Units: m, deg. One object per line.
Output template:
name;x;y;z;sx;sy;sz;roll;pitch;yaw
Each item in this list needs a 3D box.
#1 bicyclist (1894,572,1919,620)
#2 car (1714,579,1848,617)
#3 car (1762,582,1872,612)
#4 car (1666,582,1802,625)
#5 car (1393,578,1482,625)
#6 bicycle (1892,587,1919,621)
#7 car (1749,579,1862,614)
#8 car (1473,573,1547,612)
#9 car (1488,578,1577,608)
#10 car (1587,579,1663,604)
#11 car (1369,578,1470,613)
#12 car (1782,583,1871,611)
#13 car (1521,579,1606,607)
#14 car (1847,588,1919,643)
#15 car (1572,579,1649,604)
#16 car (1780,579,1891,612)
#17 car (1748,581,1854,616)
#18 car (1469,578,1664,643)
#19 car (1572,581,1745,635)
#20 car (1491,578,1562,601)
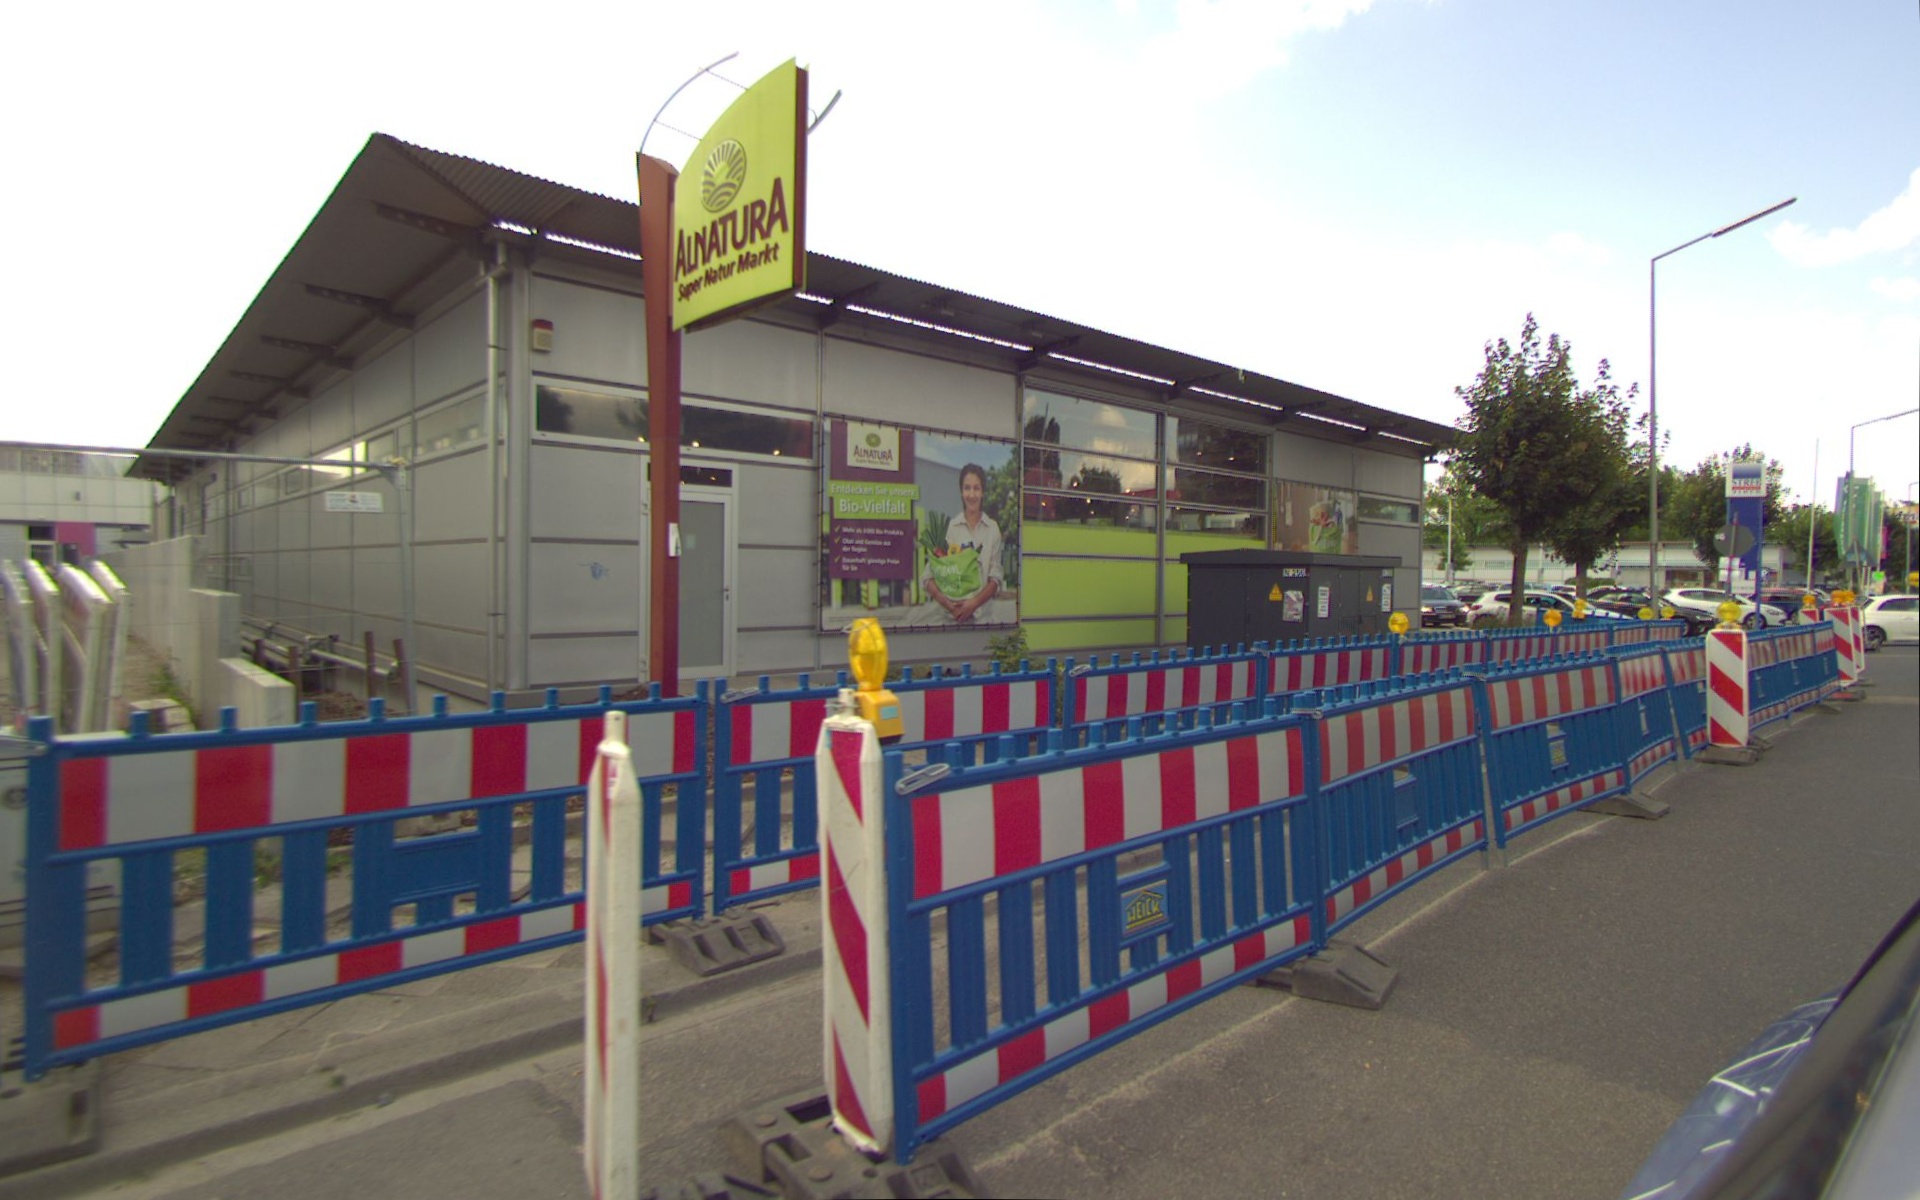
bicyclist;39.879;-0.164;42.465;0.814;1.933;0.797;0;5;-40
car;35.801;-0.112;44.206;1.816;1.461;4.312;0;2;-44
car;47.794;-0.198;56.517;1.827;1.455;4.487;0;2;-43
car;30.018;0.093;39.301;1.768;1.428;3.955;0;3;-45
car;16.188;0.002;34.529;1.660;1.428;4.376;-1;2;11
bicycle;39.859;0.148;42.480;1.849;1.310;0.794;-1;5;-41
car;42.634;-0.220;51.067;4.285;1.561;1.722;3;2;43
car;22.540;-0.309;41.419;1.720;1.538;3.692;1;1;45
car;31.633;-0.404;55.980;1.712;1.502;3.985;0;2;-44
car;44.161;-0.610;67.248;1.696;1.502;3.939;0;2;-44
car;21.980;-0.245;48.499;1.696;1.502;4.062;0;2;-44
car;51.472;-0.218;60.171;1.625;1.517;3.819;0;2;-41
car;35.399;-0.421;59.434;1.696;1.502;3.939;0;2;-44
car;28.196;0.473;29.325;3.593;1.488;1.666;3;3;38
car;42.330;-0.579;65.924;1.696;1.502;3.939;0;2;-44
car;53.238;-0.312;61.601;1.870;1.810;4.900;0;2;-42
car;40.943;-0.098;49.314;3.884;1.541;1.722;3;2;43
car;16.240;0.214;27.236;1.956;1.481;4.109;0;3;-43
car;22.034;0.207;32.046;1.775;1.448;4.189;0;3;-40
car;39.054;-0.738;69.848;1.696;1.502;3.939;0;2;-44
